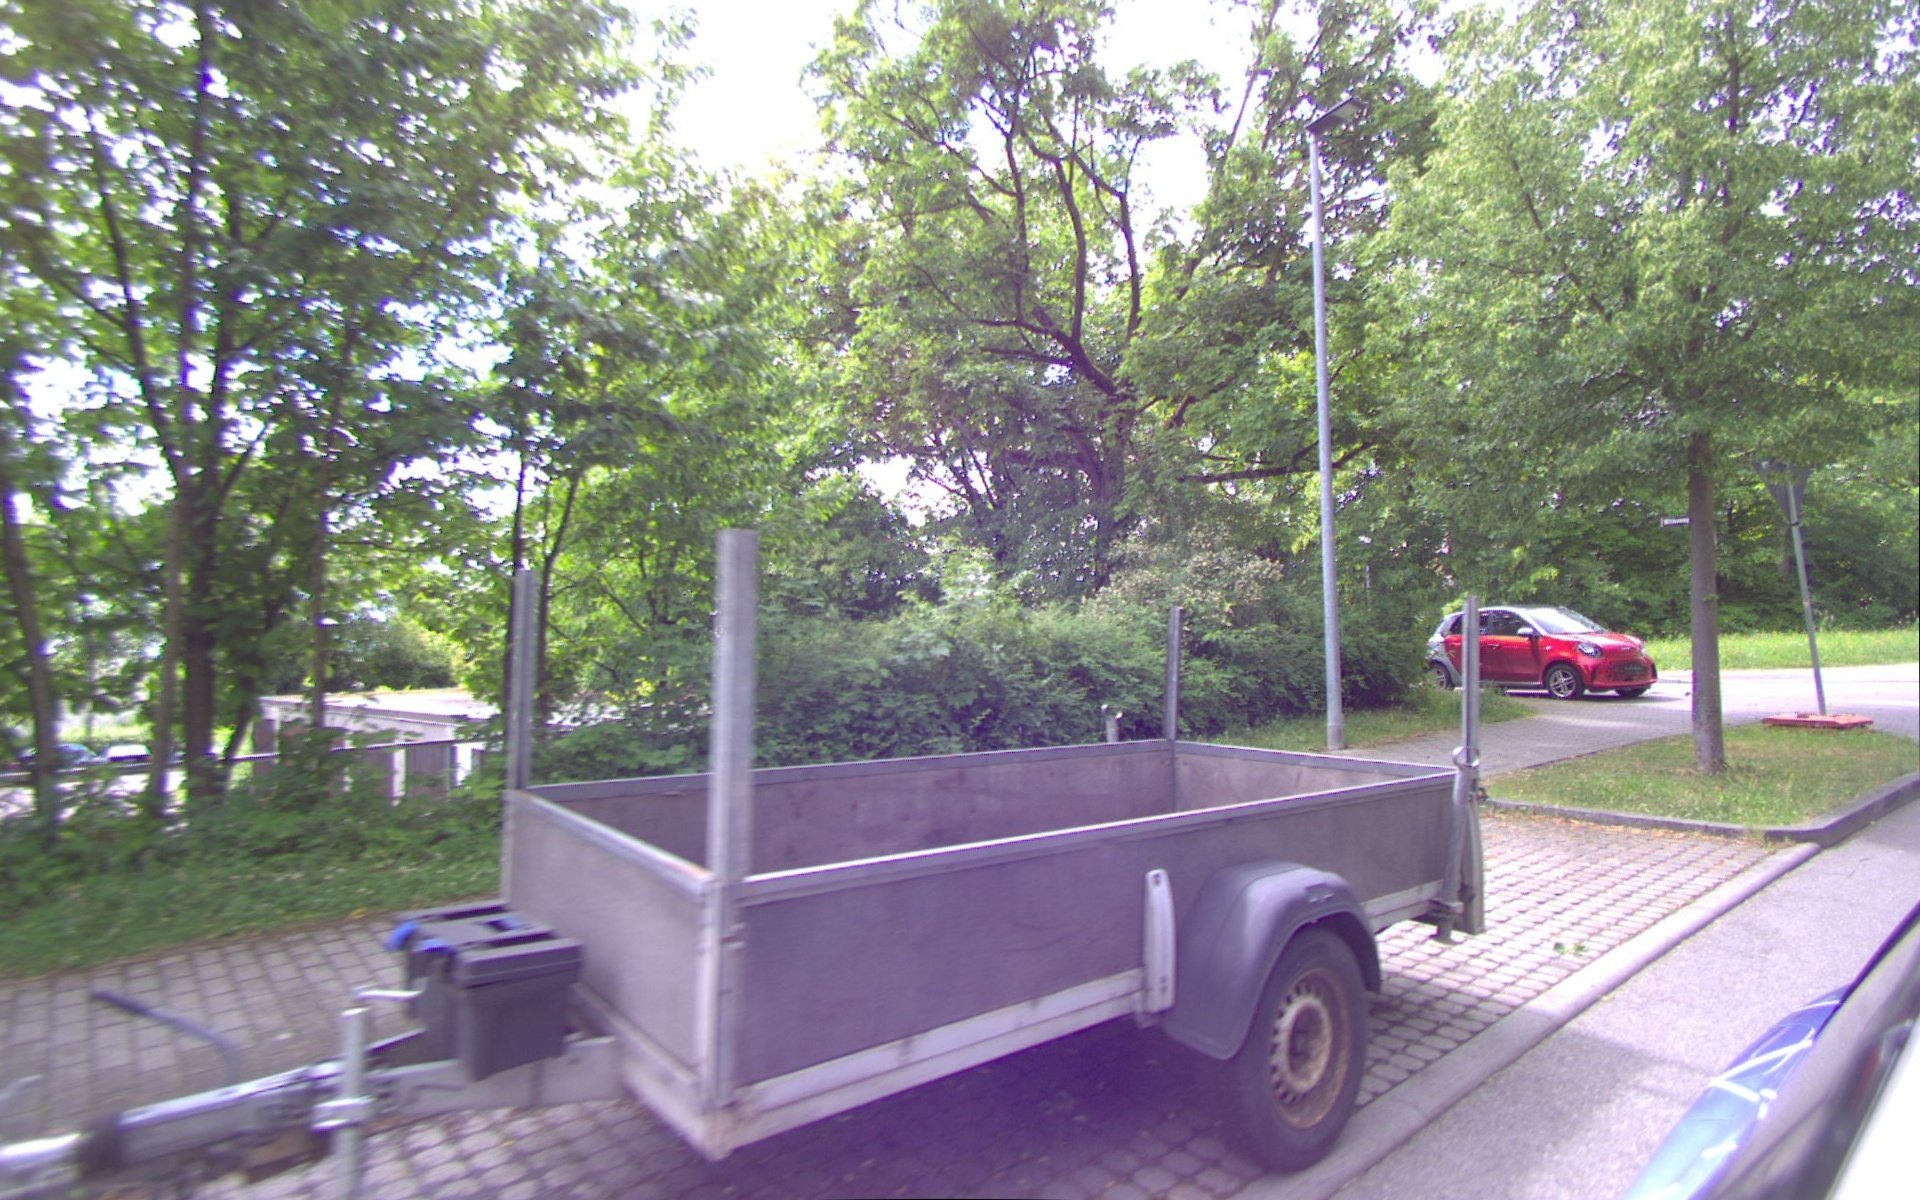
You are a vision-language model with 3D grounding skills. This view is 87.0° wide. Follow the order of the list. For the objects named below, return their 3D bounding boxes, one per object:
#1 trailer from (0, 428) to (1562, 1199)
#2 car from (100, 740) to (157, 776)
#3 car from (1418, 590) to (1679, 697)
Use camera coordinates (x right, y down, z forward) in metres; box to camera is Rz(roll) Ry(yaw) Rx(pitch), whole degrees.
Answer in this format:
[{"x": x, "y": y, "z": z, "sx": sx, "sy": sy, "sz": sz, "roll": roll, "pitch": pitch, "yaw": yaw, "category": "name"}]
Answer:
[{"x": -0.034, "y": 0.632, "z": 2.998, "sx": 4.411, "sy": 1.599, "sz": 1.813, "roll": 0, "pitch": -1, "yaw": -41, "category": "trailer"}, {"x": -35.818, "y": 6.778, "z": 43.570, "sx": 1.616, "sy": 1.296, "sz": 3.598, "roll": -1, "pitch": -6, "yaw": -44, "category": "car"}, {"x": 9.679, "y": 0.679, "z": 16.952, "sx": 1.617, "sy": 1.537, "sz": 3.494, "roll": -2, "pitch": -1, "yaw": -21, "category": "car"}]
